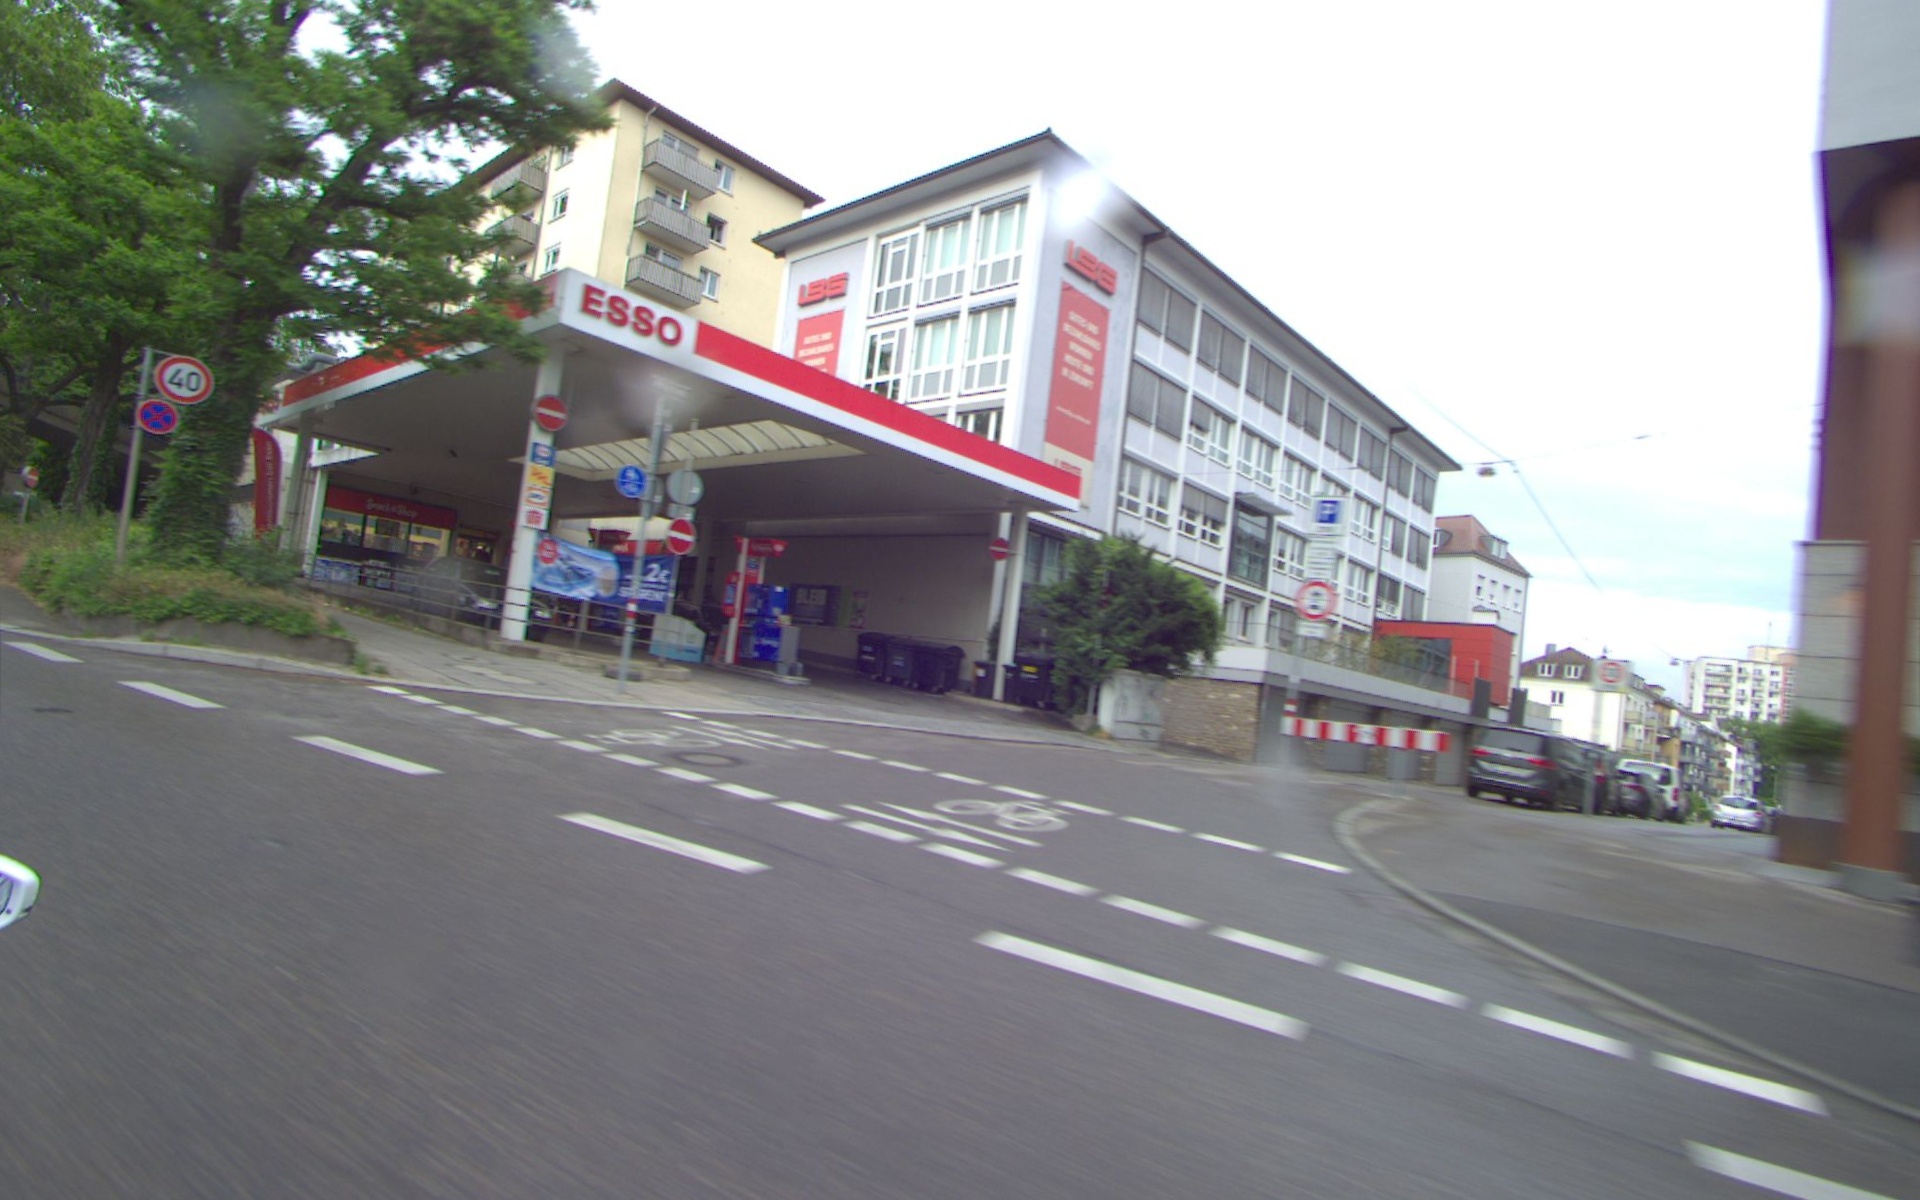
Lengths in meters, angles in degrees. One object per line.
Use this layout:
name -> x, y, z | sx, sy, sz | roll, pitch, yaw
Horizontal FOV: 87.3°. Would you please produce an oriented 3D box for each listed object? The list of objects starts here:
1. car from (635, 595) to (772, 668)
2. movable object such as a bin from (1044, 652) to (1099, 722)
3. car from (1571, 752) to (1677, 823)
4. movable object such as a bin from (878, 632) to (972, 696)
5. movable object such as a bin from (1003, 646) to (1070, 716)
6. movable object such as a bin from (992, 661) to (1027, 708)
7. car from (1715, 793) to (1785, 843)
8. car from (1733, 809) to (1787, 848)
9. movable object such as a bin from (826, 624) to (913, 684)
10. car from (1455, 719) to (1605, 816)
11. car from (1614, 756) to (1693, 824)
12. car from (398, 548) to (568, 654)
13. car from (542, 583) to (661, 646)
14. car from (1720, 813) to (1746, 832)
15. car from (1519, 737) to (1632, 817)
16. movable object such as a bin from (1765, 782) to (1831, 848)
car -> -7.427, 0.872, 28.948 | 3.948, 1.525, 1.795 | 5, -7, 43
movable object such as a bin -> 2.814, 2.200, 25.476 | 0.901, 1.583, 0.763 | 7, -2, 43
car -> 19.424, 5.506, 29.368 | 1.776, 1.525, 3.986 | 7, -5, 44
movable object such as a bin -> -1.046, 1.855, 29.423 | 2.474, 1.441, 1.162 | 7, -3, 43
movable object such as a bin -> 1.992, 2.110, 26.242 | 1.342, 1.583, 0.763 | 7, -3, 43
movable object such as a bin -> 1.333, 2.260, 27.034 | 0.652, 1.153, 0.452 | 7, -2, 43
car -> 32.198, 8.899, 40.965 | 1.777, 1.524, 4.486 | 5, -7, 44
car -> 40.143, 11.477, 50.446 | 1.776, 1.524, 3.989 | 5, -7, 43
movable object such as a bin -> -2.807, 1.653, 31.026 | 2.474, 1.441, 1.162 | 7, -3, 43
car -> 12.390, 3.663, 21.757 | 1.776, 1.525, 3.986 | 7, -5, 44
car -> 23.489, 6.432, 33.998 | 1.830, 1.809, 4.609 | 8, -4, 37
car -> -9.493, -0.018, 19.877 | 1.768, 1.642, 3.818 | 9, -2, -44
car -> -11.781, 0.448, 32.955 | 4.176, 1.525, 1.795 | 5, -7, 43
car -> 79.189, 22.820, 103.083 | 1.775, 1.524, 4.490 | 5, -7, 41
car -> 15.716, 4.544, 25.589 | 1.774, 1.525, 3.992 | 8, -5, 40
movable object such as a bin -> 21.716, 5.564, 26.065 | 1.168, 1.447, 1.181 | 5, -6, 43
